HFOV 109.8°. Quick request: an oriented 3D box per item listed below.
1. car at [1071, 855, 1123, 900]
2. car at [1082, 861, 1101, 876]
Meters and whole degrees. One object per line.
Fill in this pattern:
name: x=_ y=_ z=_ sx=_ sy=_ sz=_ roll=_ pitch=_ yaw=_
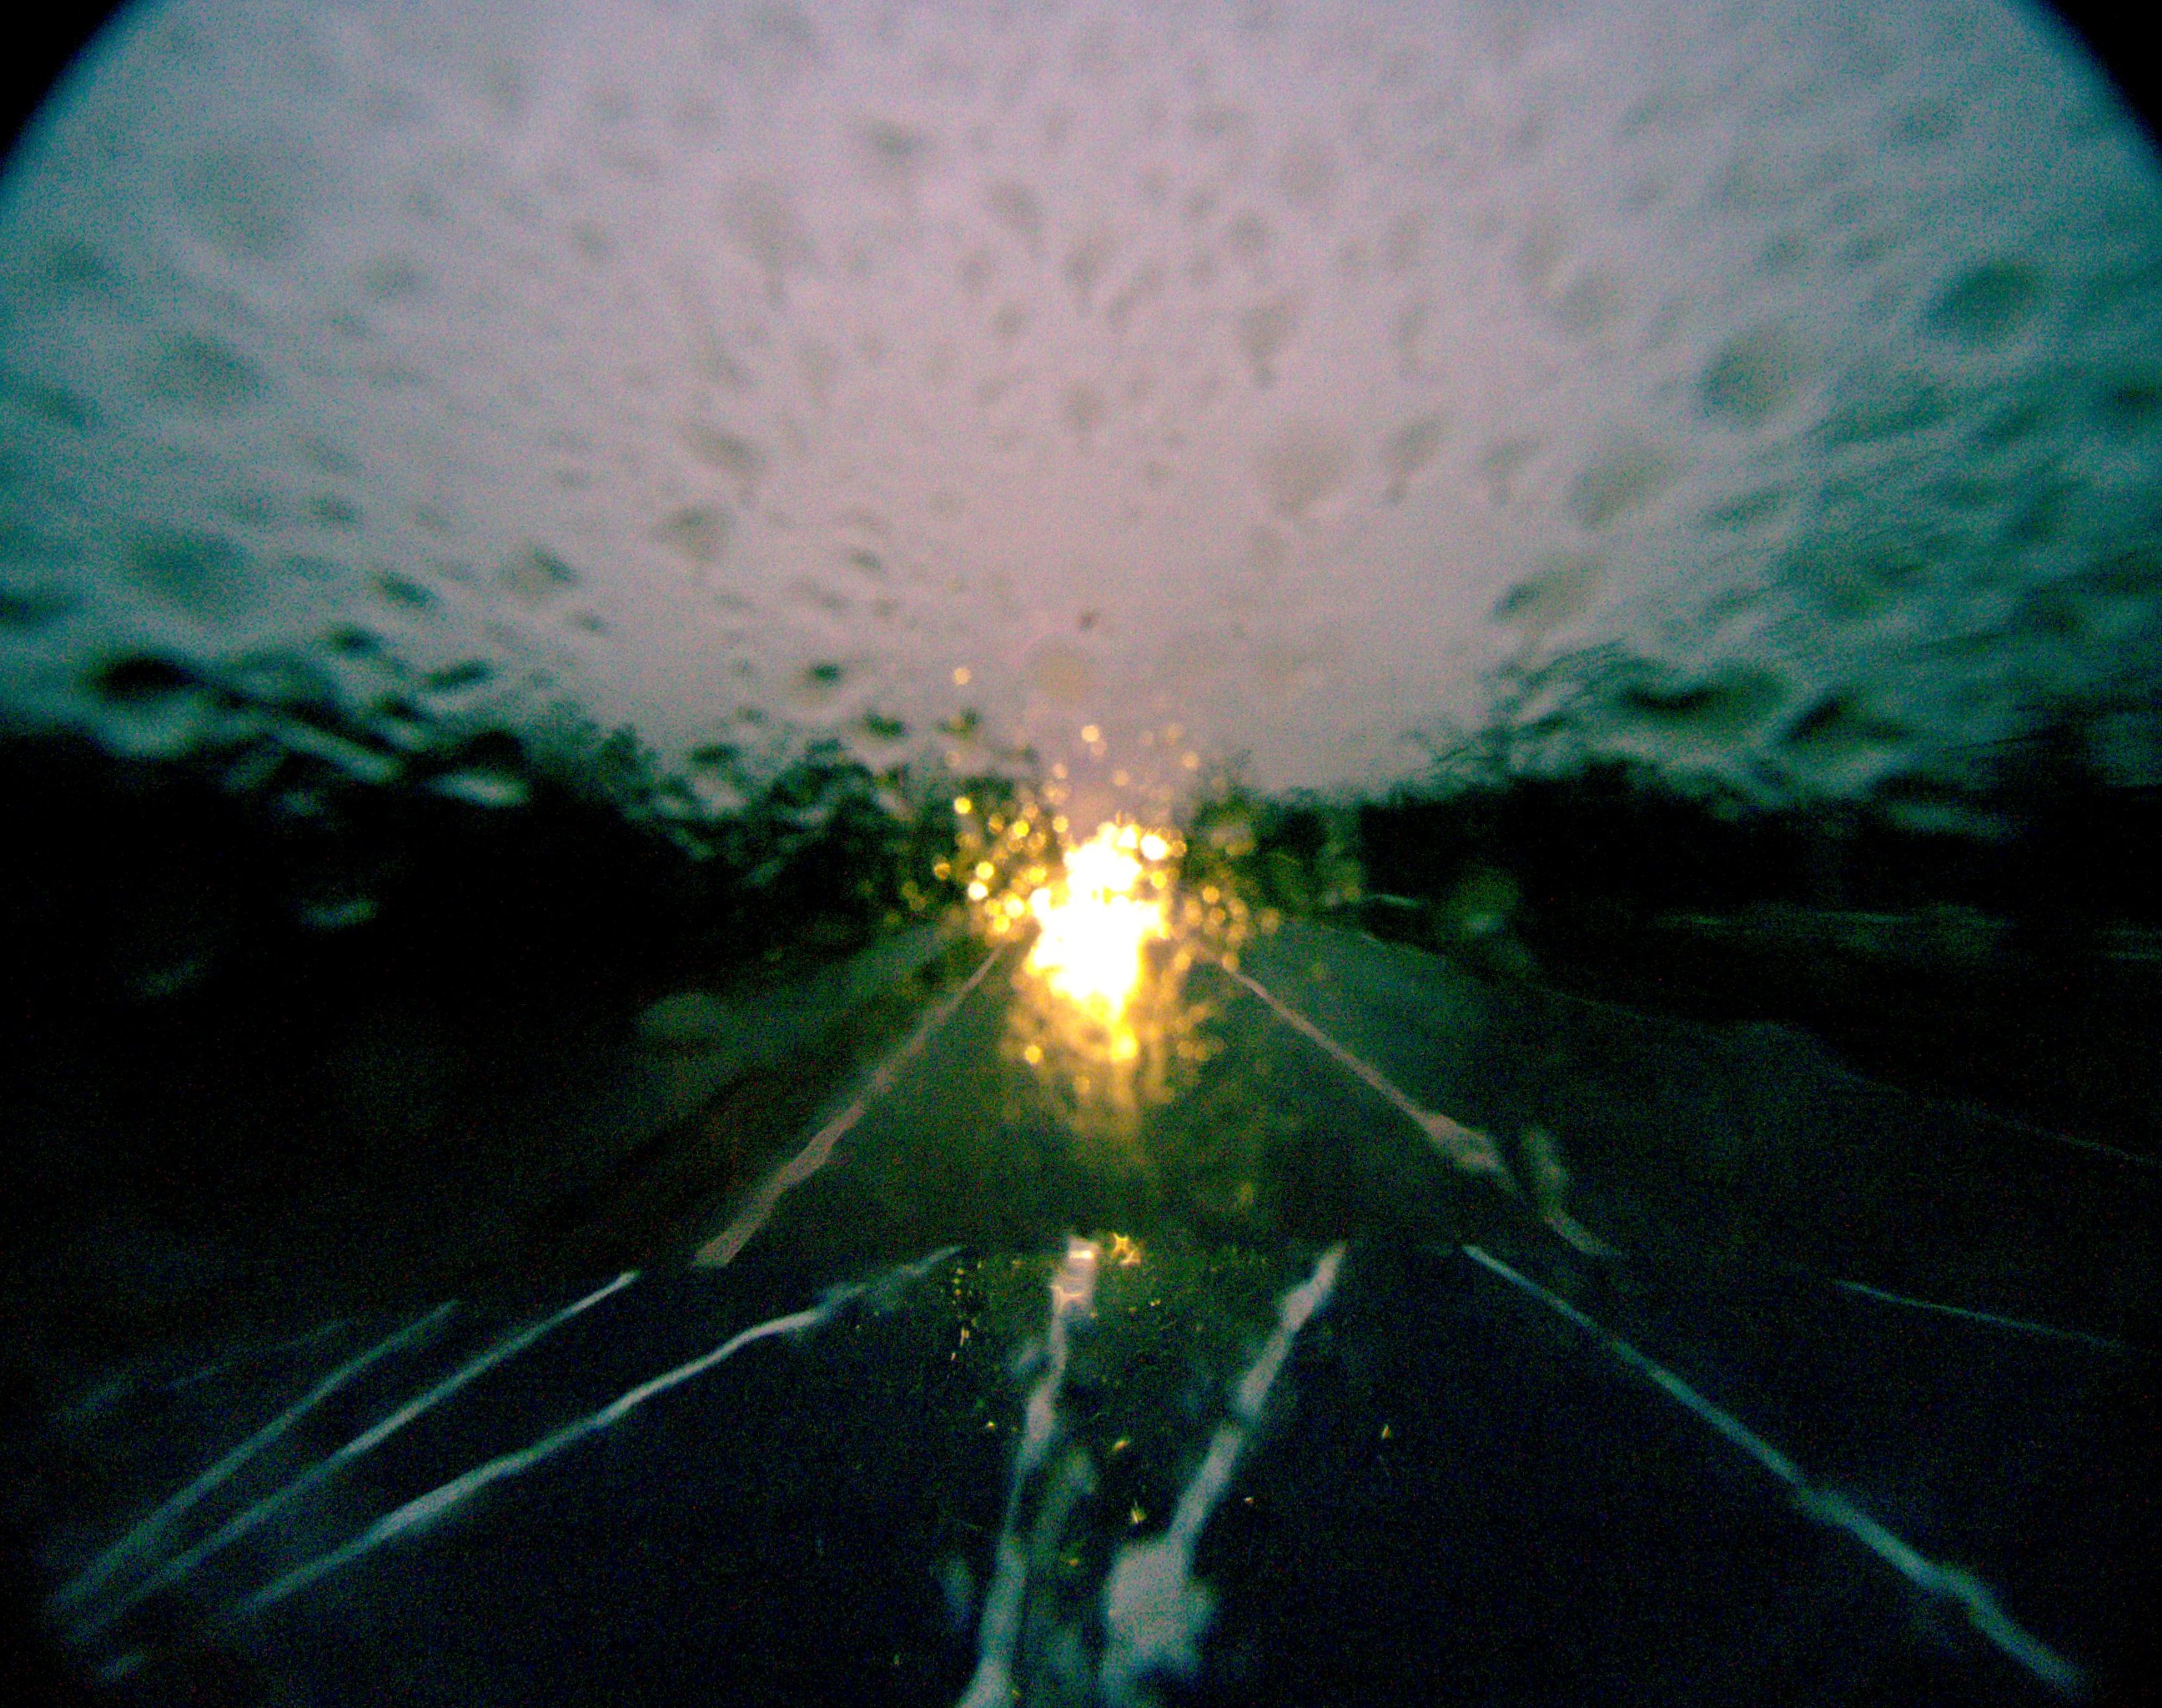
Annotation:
car: x=0.614 y=0.860 z=29.760 sx=1.860 sy=1.604 sz=4.000 roll=-1 pitch=0 yaw=1
car: x=1.210 y=1.640 z=87.064 sx=1.998 sy=1.612 sz=4.000 roll=-2 pitch=1 yaw=1
